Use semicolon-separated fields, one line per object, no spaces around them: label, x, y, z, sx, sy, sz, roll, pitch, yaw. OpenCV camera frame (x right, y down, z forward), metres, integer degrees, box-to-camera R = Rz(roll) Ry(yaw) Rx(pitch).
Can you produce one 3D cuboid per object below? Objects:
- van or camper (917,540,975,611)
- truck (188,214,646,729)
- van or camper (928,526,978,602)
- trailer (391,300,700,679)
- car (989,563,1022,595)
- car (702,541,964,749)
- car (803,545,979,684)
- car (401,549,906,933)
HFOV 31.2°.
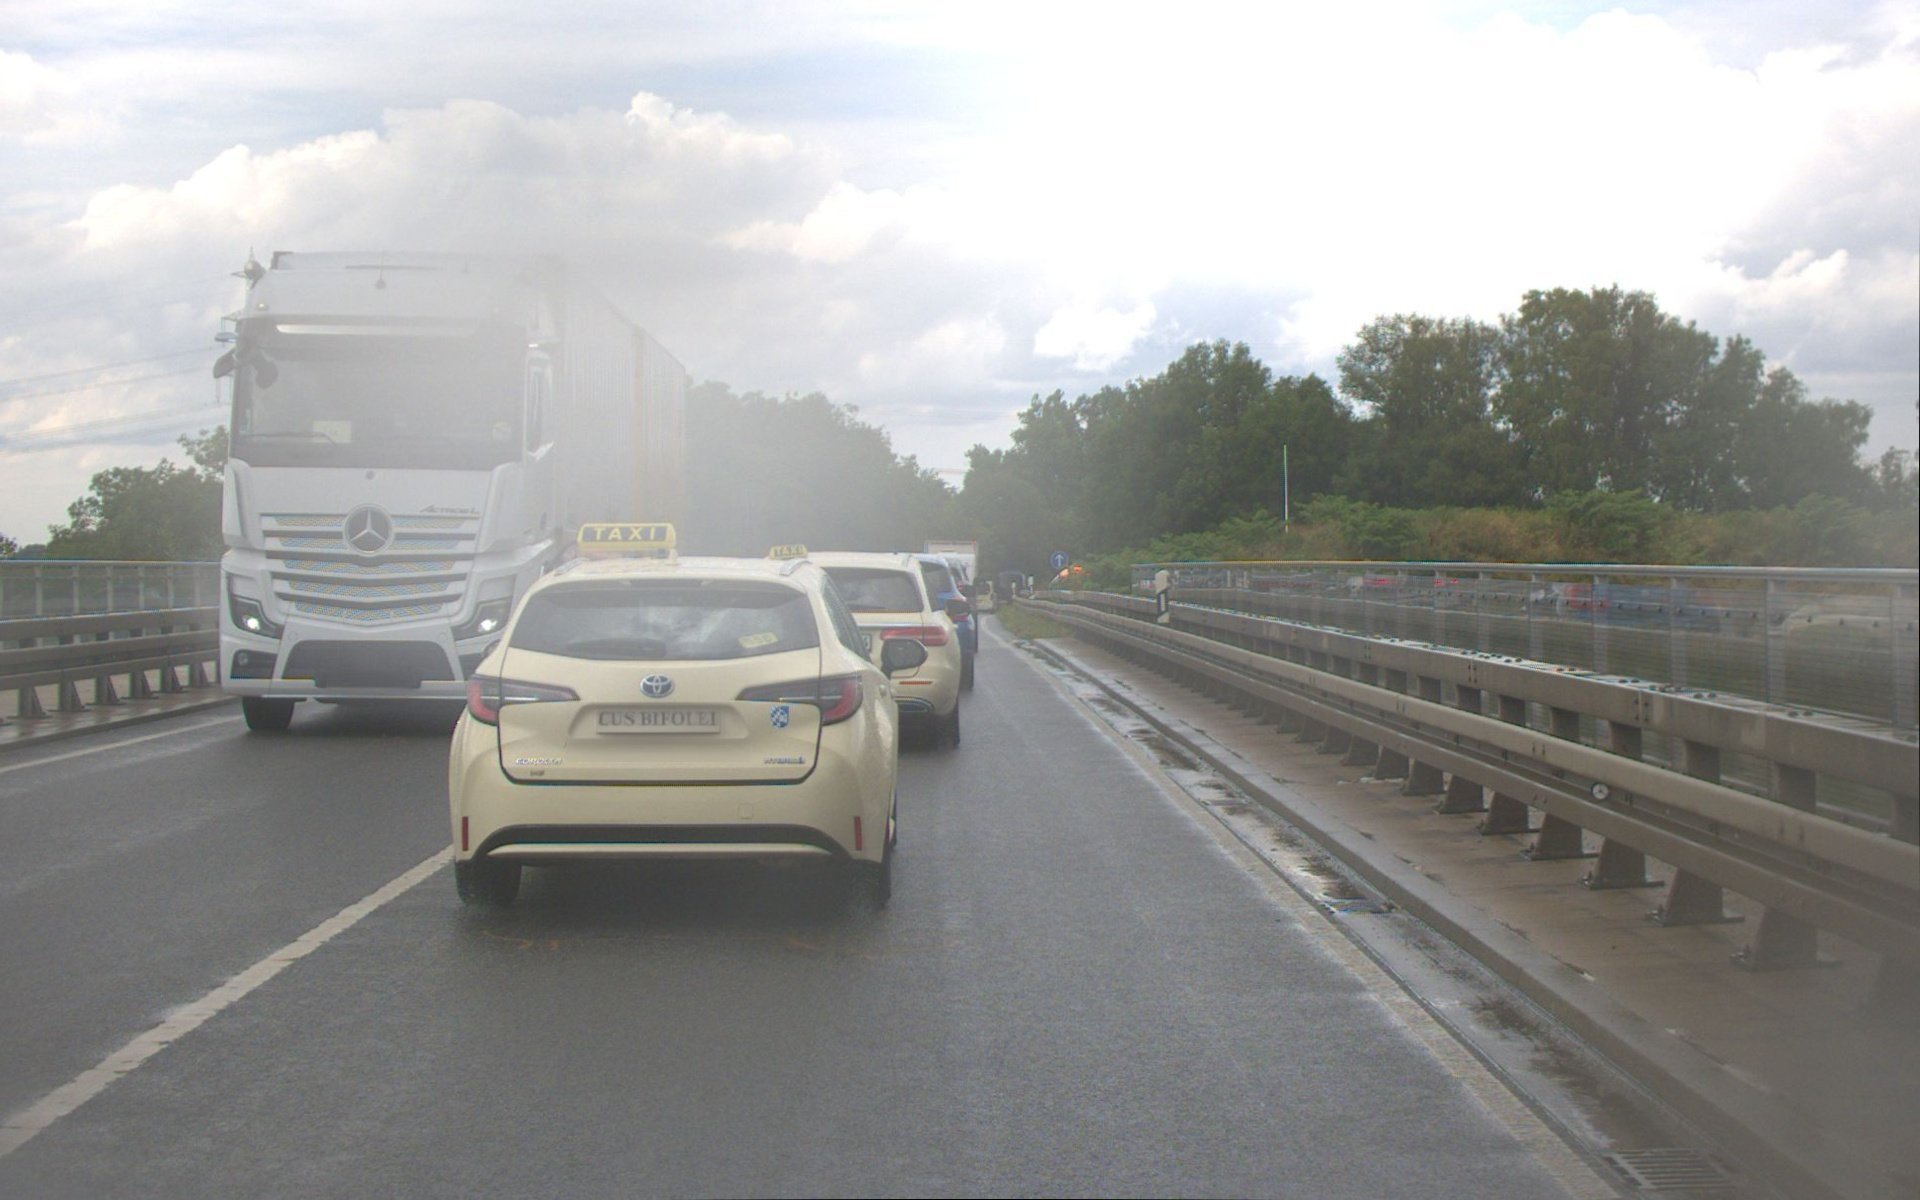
van or camper;-0.605;-1.038;142.918;2.332;2.854;6.307;1;1;0
truck;-4.711;-1.098;31.910;2.682;4.003;10.055;0;1;0
van or camper;-0.336;-1.742;166.477;2.332;3.550;6.307;1;1;0
trailer;-4.774;-1.265;41.164;2.682;4.061;8.486;0;1;0
car;2.946;-1.359;223.890;1.993;2.007;4.000;1;1;-1
car;-0.926;0.286;26.667;1.854;1.438;4.171;1;1;-1
car;-0.755;0.126;38.811;1.854;1.438;4.171;1;1;-1
car;-1.184;0.501;15.006;1.854;1.389;4.171;1;1;-1
